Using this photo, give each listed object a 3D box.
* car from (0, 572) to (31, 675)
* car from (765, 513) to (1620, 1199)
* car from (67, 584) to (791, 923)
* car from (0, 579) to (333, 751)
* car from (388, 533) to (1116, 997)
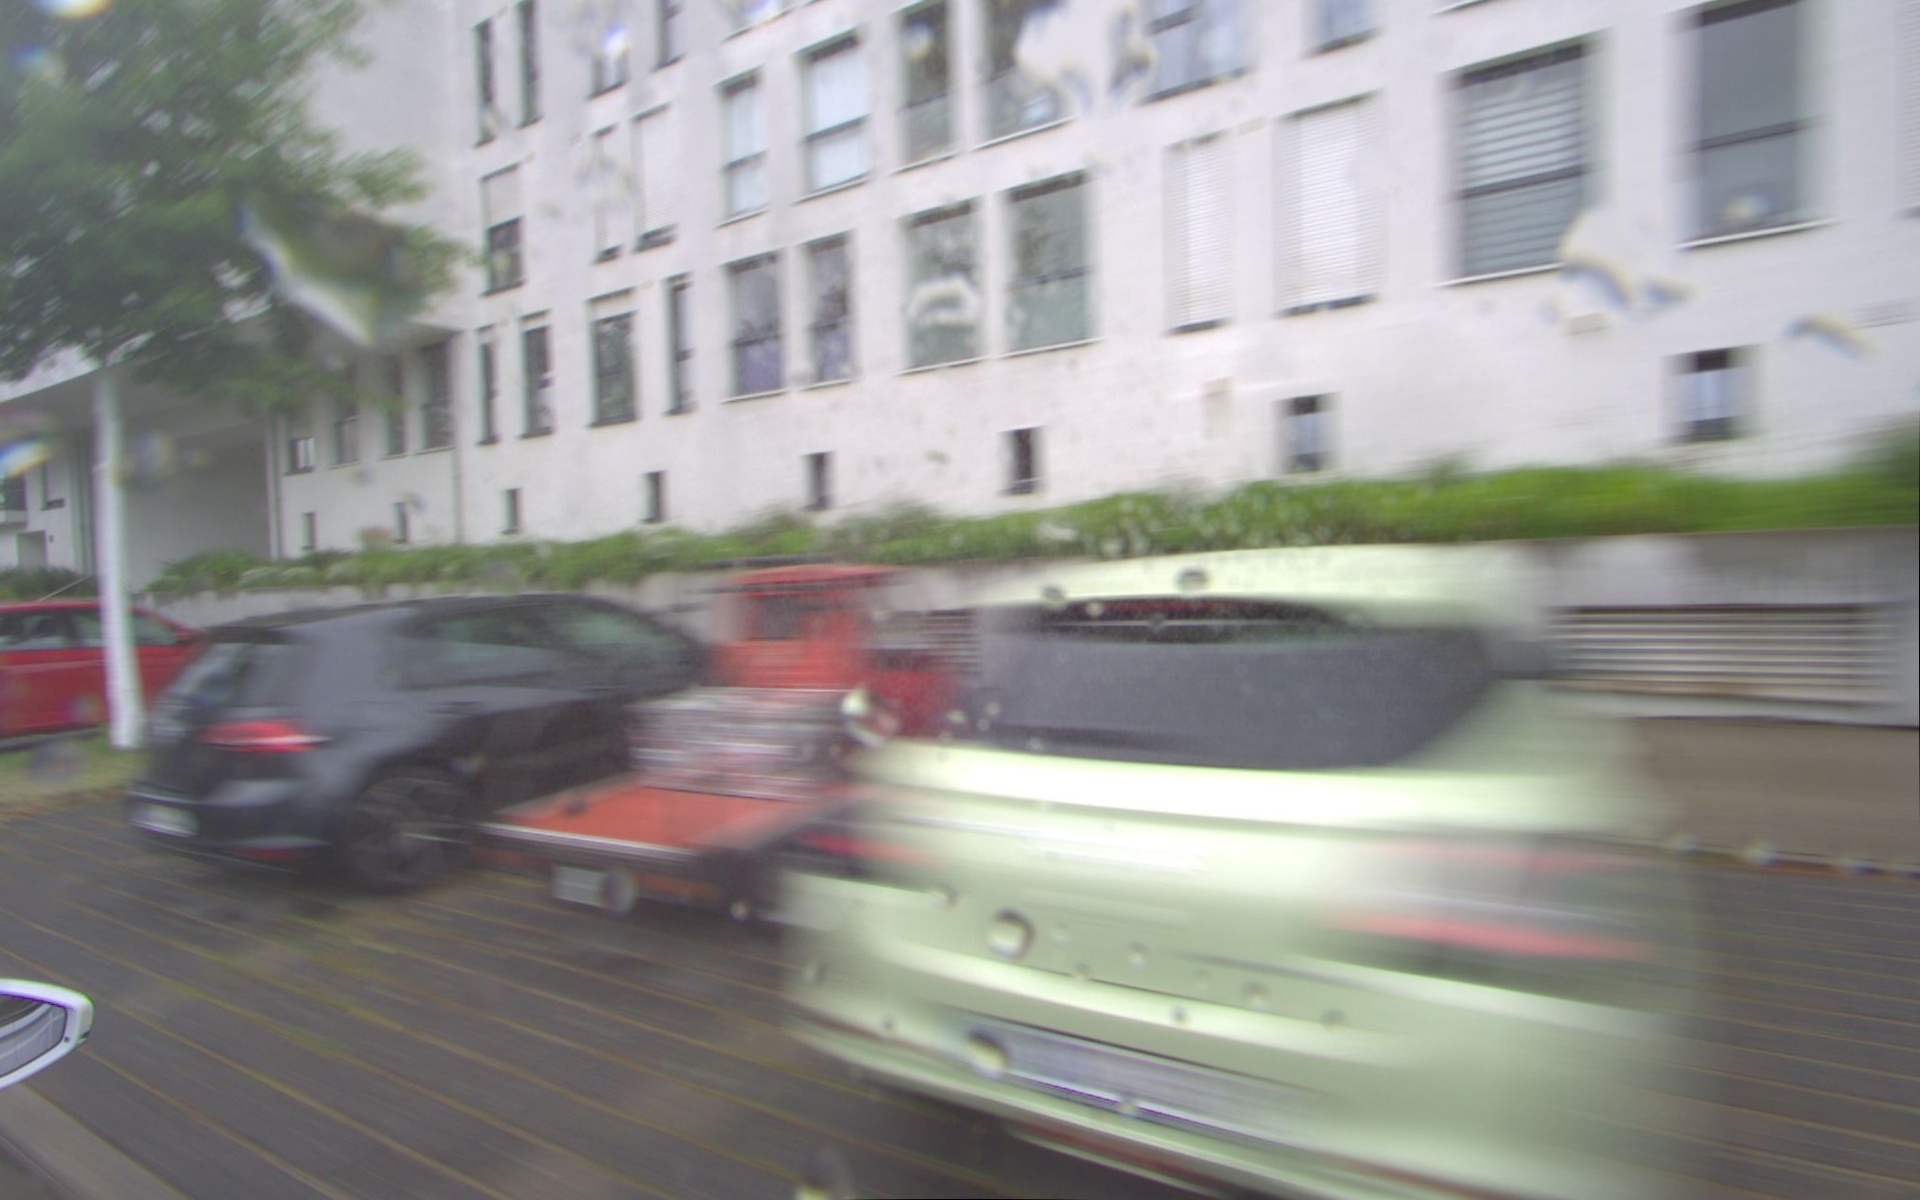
[{"bbox_3d":[-17.844,0.628,15.539,1.857,1.710,4.528,-1,6,29],"label":"car"},{"bbox_3d":[1.442,0.489,3.849,1.667,1.502,4.475,-1,3,31],"label":"car"},{"bbox_3d":[-2.978,0.687,6.529,1.568,1.494,3.951,-1,0,30],"label":"car"},{"bbox_3d":[-9.189,0.638,10.500,1.795,1.471,3.977,-2,2,31],"label":"car"},{"bbox_3d":[-0.685,0.476,5.576,1.611,1.577,3.975,-1,4,32],"label":"car"}]
